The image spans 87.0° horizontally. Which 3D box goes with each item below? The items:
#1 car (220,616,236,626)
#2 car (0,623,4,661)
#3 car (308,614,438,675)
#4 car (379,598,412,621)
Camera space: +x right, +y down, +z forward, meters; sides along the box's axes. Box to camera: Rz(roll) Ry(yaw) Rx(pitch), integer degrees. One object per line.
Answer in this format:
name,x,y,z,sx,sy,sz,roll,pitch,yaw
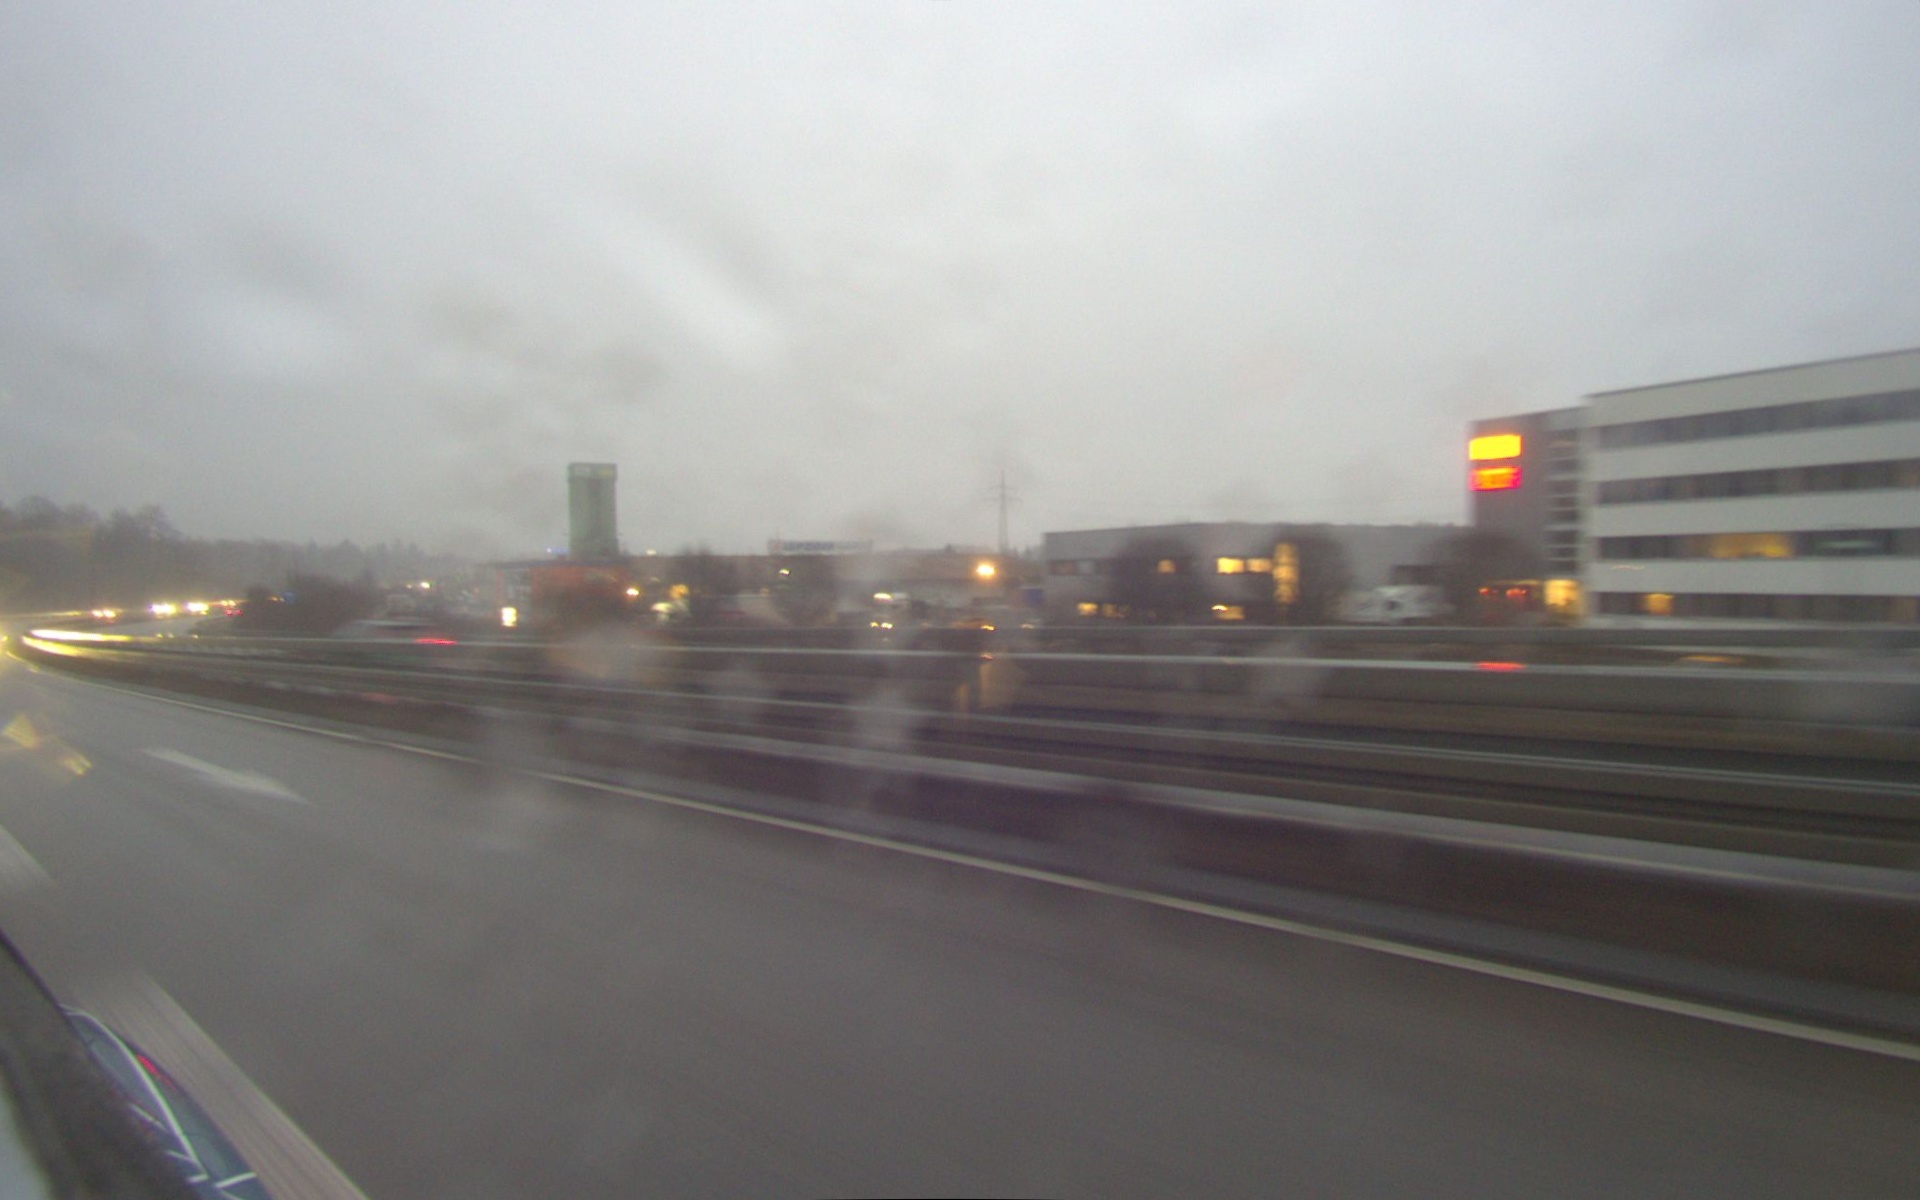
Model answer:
car,-114.150,3.268,157.775,1.648,1.431,4.094,1,-1,-30
car,-52.542,2.334,53.371,1.965,2.028,4.013,-2,1,-27
car,-14.974,1.154,25.724,4.507,1.416,1.660,-3,-3,44
car,-83.208,1.419,149.429,3.147,3.235,9.972,2,-1,-23
